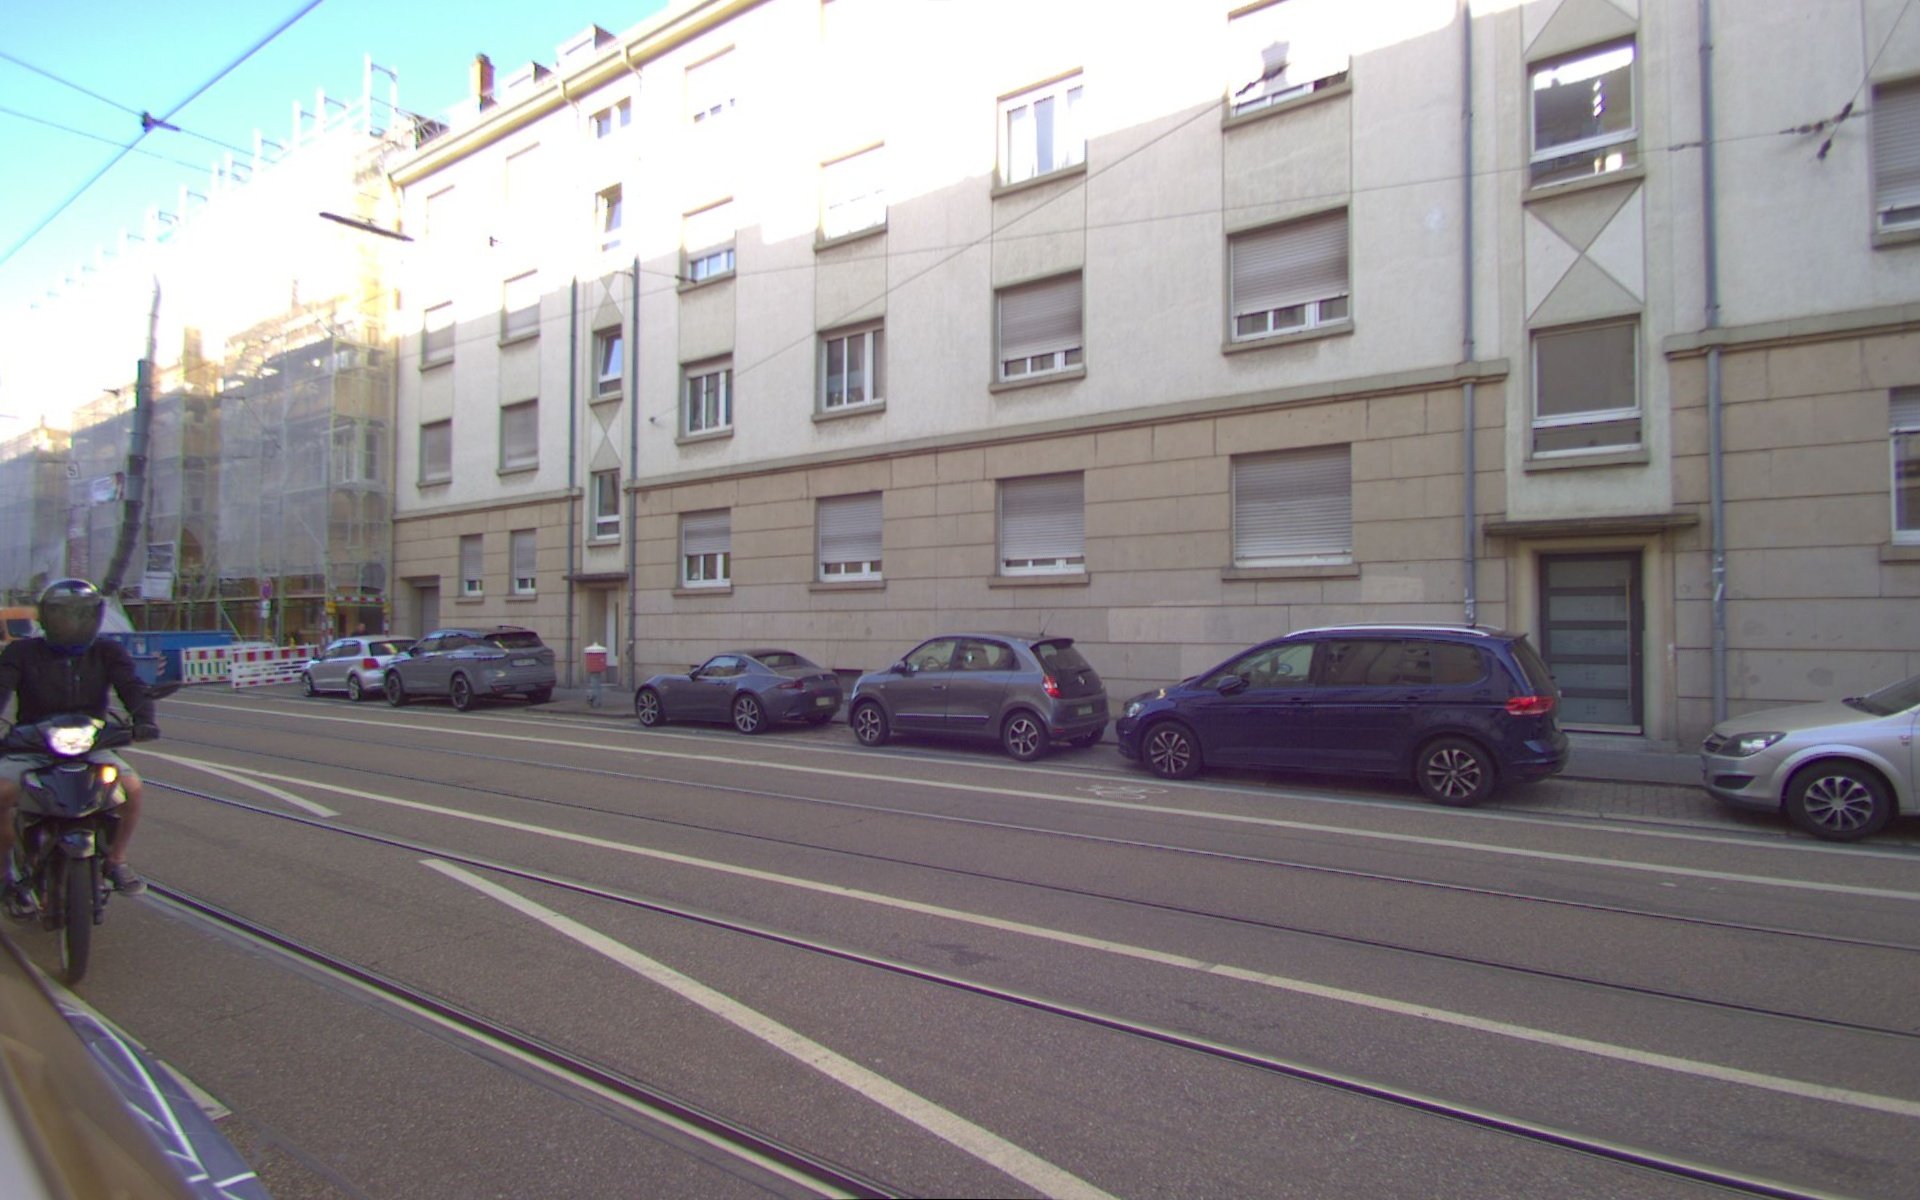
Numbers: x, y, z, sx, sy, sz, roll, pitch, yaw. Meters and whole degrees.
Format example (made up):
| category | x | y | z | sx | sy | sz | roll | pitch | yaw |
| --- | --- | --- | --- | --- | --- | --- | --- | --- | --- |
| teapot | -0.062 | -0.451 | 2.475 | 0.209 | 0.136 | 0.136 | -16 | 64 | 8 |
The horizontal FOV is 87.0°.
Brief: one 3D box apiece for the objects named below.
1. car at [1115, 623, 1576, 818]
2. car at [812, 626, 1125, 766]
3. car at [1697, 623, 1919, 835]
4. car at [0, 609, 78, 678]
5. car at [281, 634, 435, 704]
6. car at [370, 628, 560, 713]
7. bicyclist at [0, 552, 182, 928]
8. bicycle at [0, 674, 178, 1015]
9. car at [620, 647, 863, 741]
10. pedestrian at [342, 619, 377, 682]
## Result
| category | x | y | z | sx | sy | sz | roll | pitch | yaw |
| --- | --- | --- | --- | --- | --- | --- | --- | --- | --- |
| car | 3.914 | 1.073 | 10.547 | 4.231 | 1.627 | 1.686 | -1 | -1 | 33 |
| car | 0.039 | 1.158 | 13.600 | 3.992 | 1.581 | 1.684 | -1 | -1 | 36 |
| car | 8.254 | 0.952 | 7.561 | 4.377 | 1.521 | 1.684 | -1 | -1 | 36 |
| car | -36.509 | 1.688 | 39.295 | 5.988 | 2.488 | 2.100 | -2 | -3 | 36 |
| car | -14.341 | 1.573 | 24.048 | 3.992 | 1.426 | 1.684 | -1 | 1 | 36 |
| car | -10.331 | 1.401 | 21.001 | 4.397 | 1.580 | 1.684 | -2 | -3 | 36 |
| bicyclist | -4.146 | 0.598 | 4.654 | 0.830 | 1.566 | 0.852 | 2 | -3 | -36 |
| bicycle | -4.063 | 0.960 | 4.558 | 0.728 | 1.186 | 1.979 | 2 | -3 | -35 |
| car | -3.539 | 1.417 | 16.182 | 3.776 | 1.225 | 1.685 | -1 | -1 | 35 |
| pedestrian | -16.685 | 1.394 | 28.120 | 0.715 | 1.707 | 0.575 | -2 | -1 | 35 |
